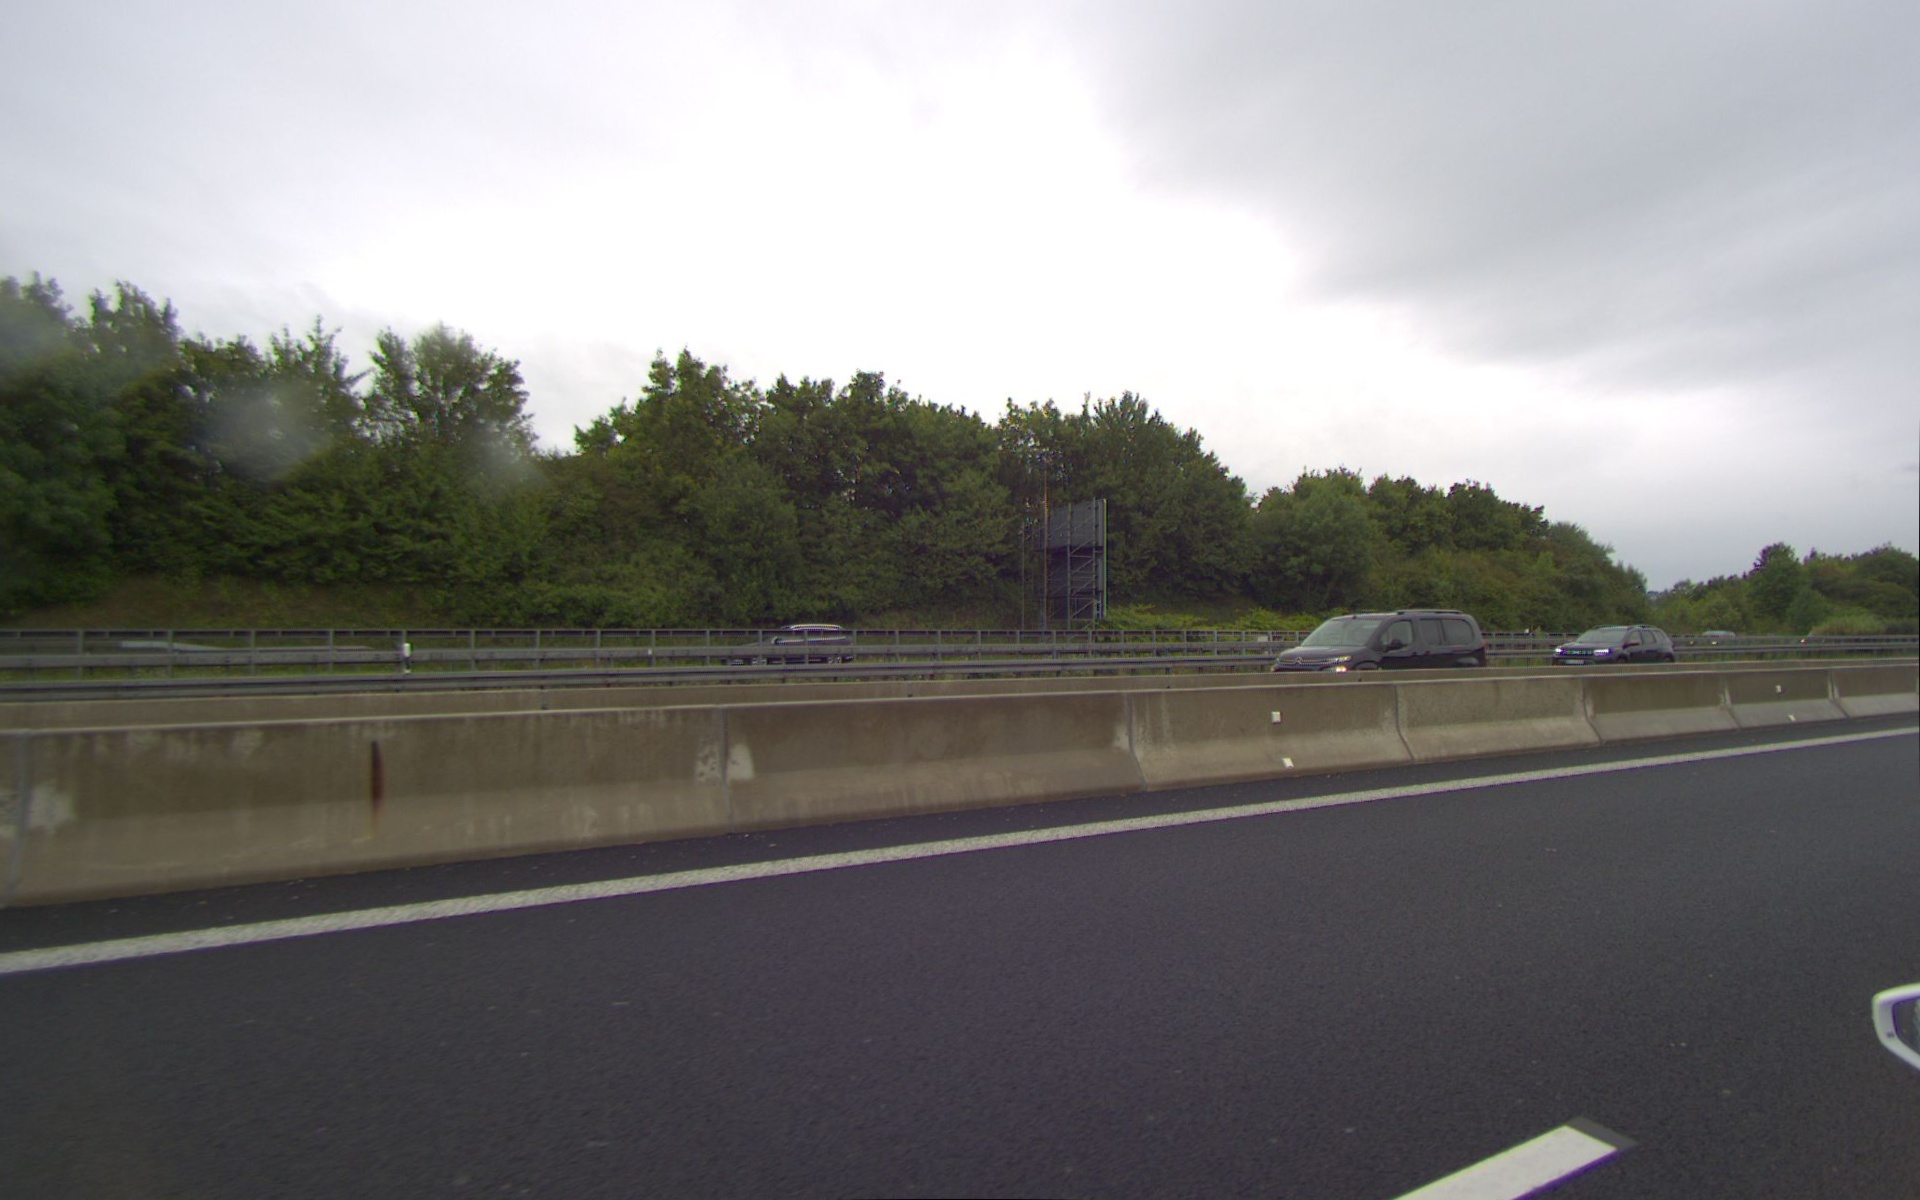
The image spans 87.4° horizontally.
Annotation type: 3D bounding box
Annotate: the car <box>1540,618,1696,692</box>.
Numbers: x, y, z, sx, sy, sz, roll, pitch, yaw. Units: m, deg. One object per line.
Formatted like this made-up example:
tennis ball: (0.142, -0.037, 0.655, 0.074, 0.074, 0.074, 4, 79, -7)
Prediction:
car: (19.934, 1.636, 30.383, 4.924, 2.040, 1.984, 2, 0, -30)

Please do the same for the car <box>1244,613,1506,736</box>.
car: (7.868, 1.318, 18.924, 4.924, 2.040, 1.984, 2, 0, -30)

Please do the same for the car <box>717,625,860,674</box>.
car: (-5.760, 1.644, 33.924, 4.425, 1.513, 1.809, 2, 0, -32)
